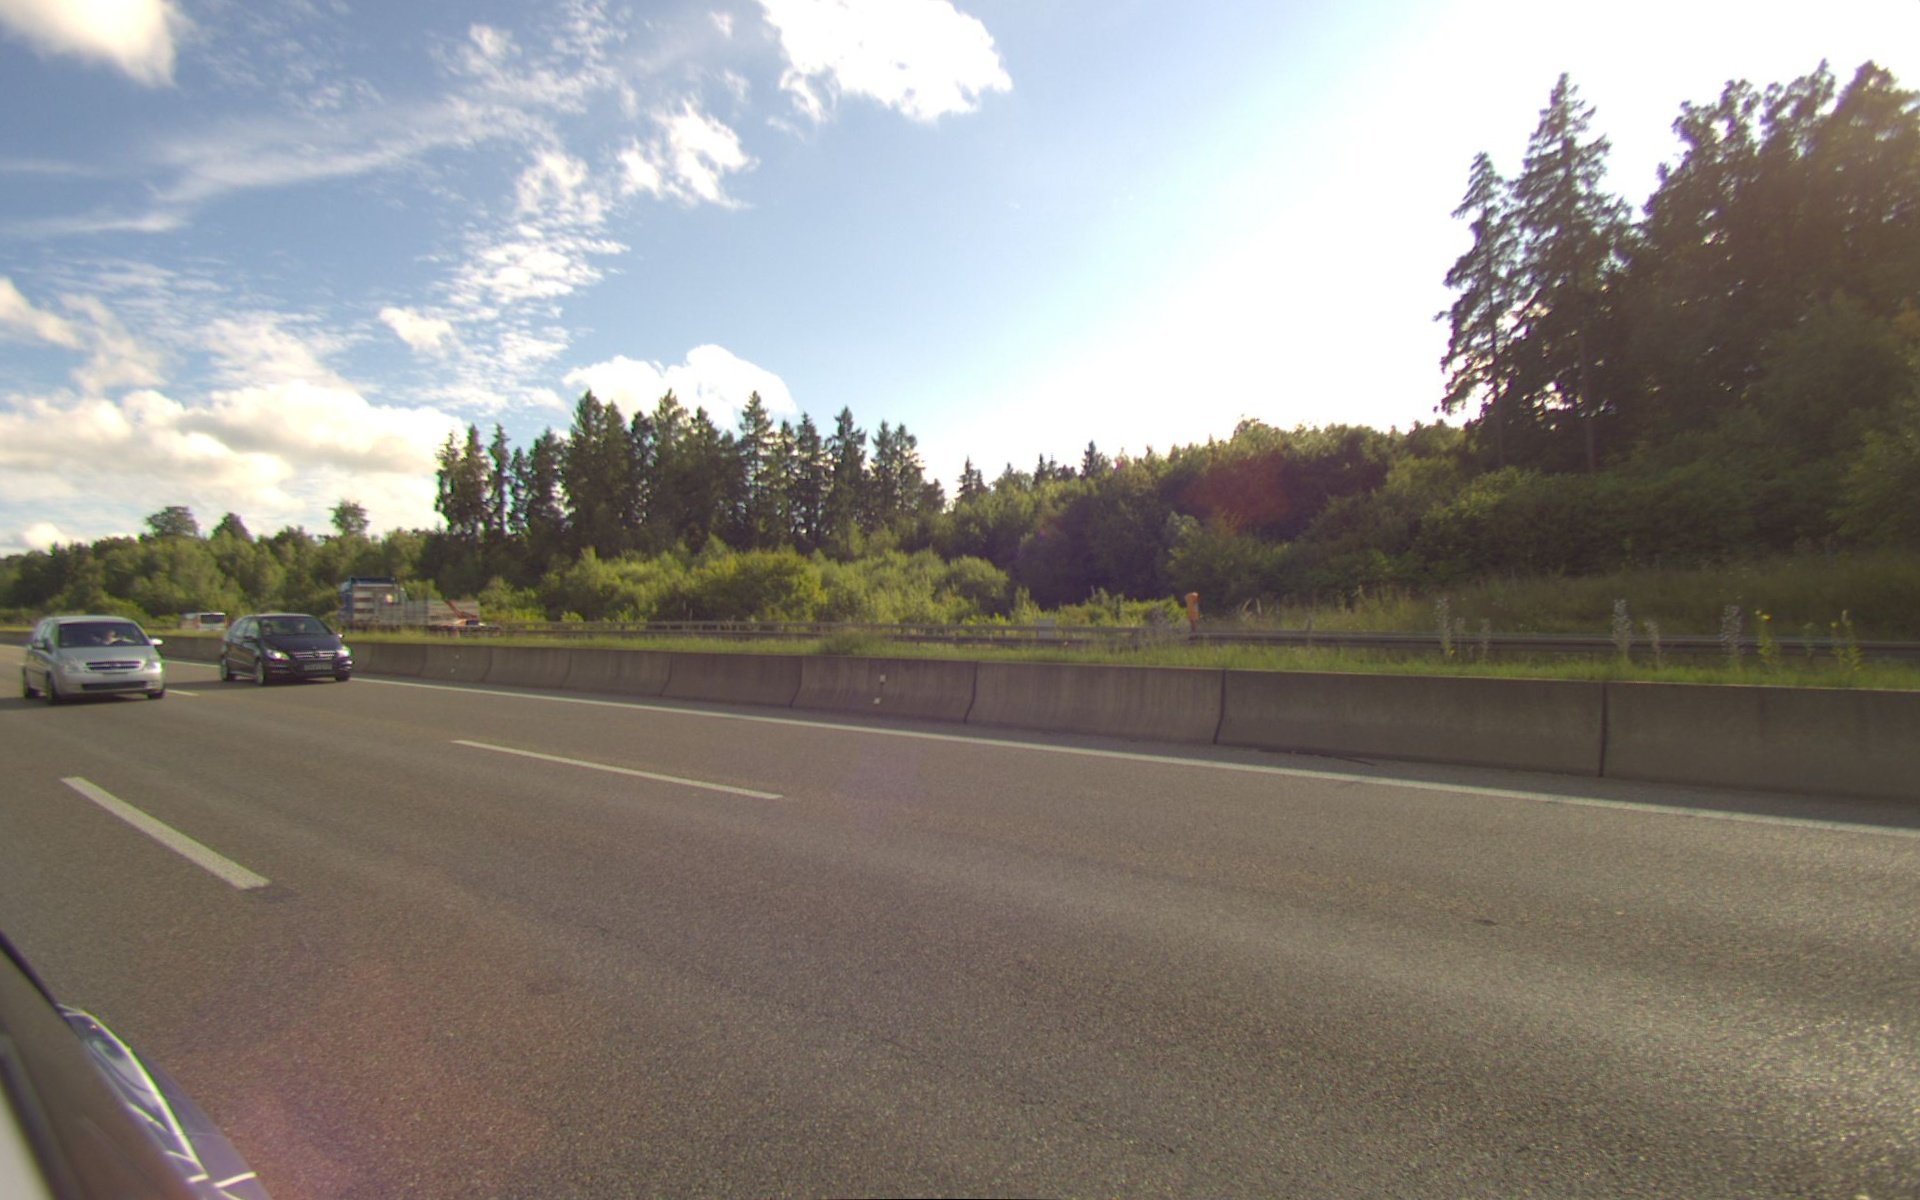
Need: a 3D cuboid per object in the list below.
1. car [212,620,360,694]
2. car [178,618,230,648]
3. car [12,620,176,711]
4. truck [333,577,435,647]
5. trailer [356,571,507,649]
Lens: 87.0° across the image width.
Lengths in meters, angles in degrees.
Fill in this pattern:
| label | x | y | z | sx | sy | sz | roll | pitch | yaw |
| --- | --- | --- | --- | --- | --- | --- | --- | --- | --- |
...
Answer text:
| label | x | y | z | sx | sy | sz | roll | pitch | yaw |
| --- | --- | --- | --- | --- | --- | --- | --- | --- | --- |
| car | -15.737 | 1.270 | 23.555 | 4.331 | 1.529 | 1.816 | -2 | -1 | 41 |
| car | -52.385 | 2.266 | 70.112 | 4.857 | 2.029 | 1.973 | -2 | -1 | 41 |
| car | -16.698 | 1.179 | 19.440 | 4.331 | 1.529 | 1.816 | -2 | -1 | 41 |
| truck | -34.012 | 0.728 | 59.645 | 7.119 | 3.867 | 3.082 | -2 | -1 | 41 |
| trailer | -29.106 | 0.612 | 55.368 | 12.202 | 3.867 | 3.092 | -2 | -1 | 41 |
